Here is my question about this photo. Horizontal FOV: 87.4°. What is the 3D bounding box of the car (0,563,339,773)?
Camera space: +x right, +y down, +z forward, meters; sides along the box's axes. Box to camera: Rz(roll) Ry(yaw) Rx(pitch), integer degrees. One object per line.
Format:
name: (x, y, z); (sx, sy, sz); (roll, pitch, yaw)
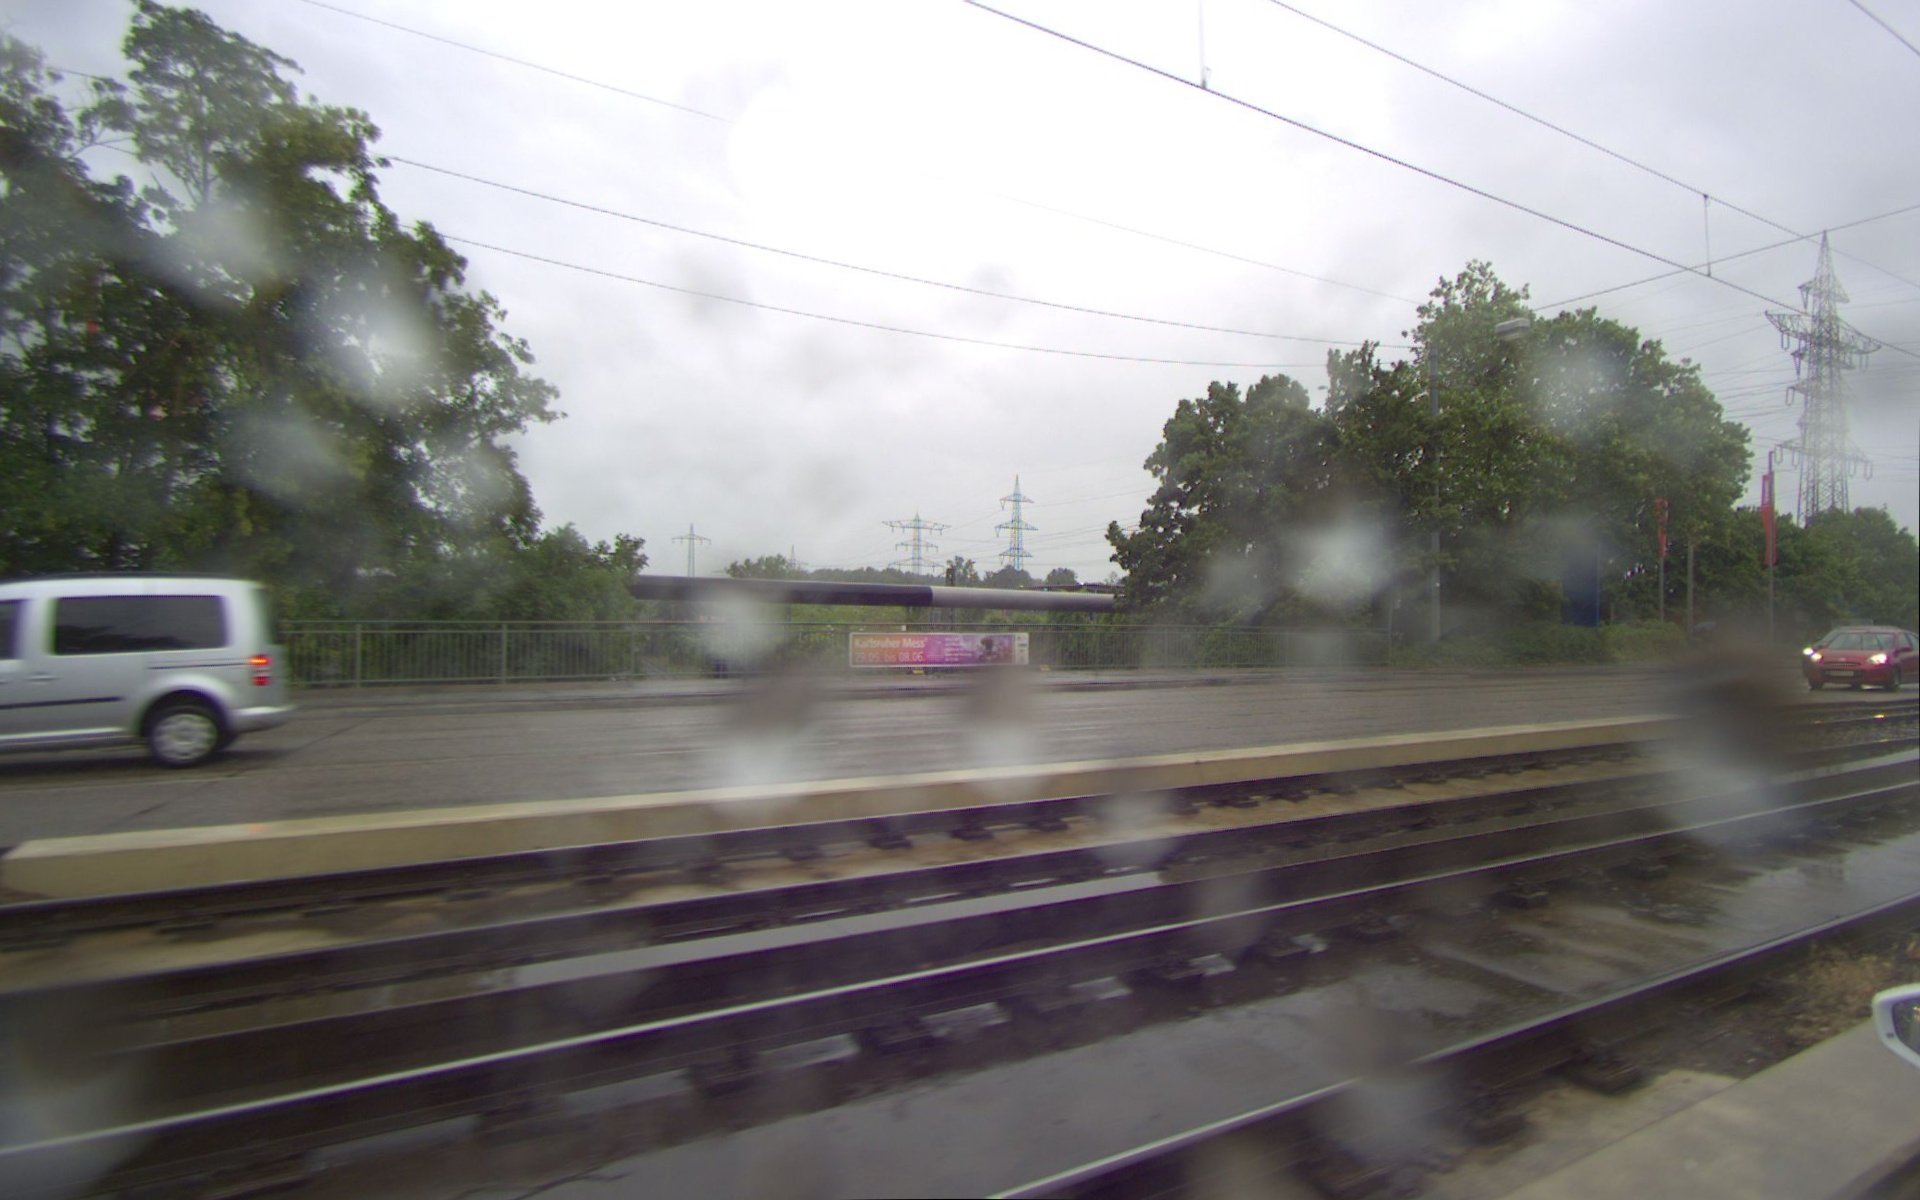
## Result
car: (-8.787, 0.612, 9.748); (4.605, 1.840, 1.984); (1, -1, -31)

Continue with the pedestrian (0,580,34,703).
pedestrian: (-14.494, 0.608, 14.764); (1.107, 1.782, 0.848); (1, -1, -30)

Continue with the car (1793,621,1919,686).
car: (22.935, 1.299, 25.347); (3.964, 1.506, 1.650); (1, -1, -29)

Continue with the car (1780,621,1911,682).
car: (28.541, 1.618, 32.359); (3.951, 1.840, 1.985); (1, -1, -29)
